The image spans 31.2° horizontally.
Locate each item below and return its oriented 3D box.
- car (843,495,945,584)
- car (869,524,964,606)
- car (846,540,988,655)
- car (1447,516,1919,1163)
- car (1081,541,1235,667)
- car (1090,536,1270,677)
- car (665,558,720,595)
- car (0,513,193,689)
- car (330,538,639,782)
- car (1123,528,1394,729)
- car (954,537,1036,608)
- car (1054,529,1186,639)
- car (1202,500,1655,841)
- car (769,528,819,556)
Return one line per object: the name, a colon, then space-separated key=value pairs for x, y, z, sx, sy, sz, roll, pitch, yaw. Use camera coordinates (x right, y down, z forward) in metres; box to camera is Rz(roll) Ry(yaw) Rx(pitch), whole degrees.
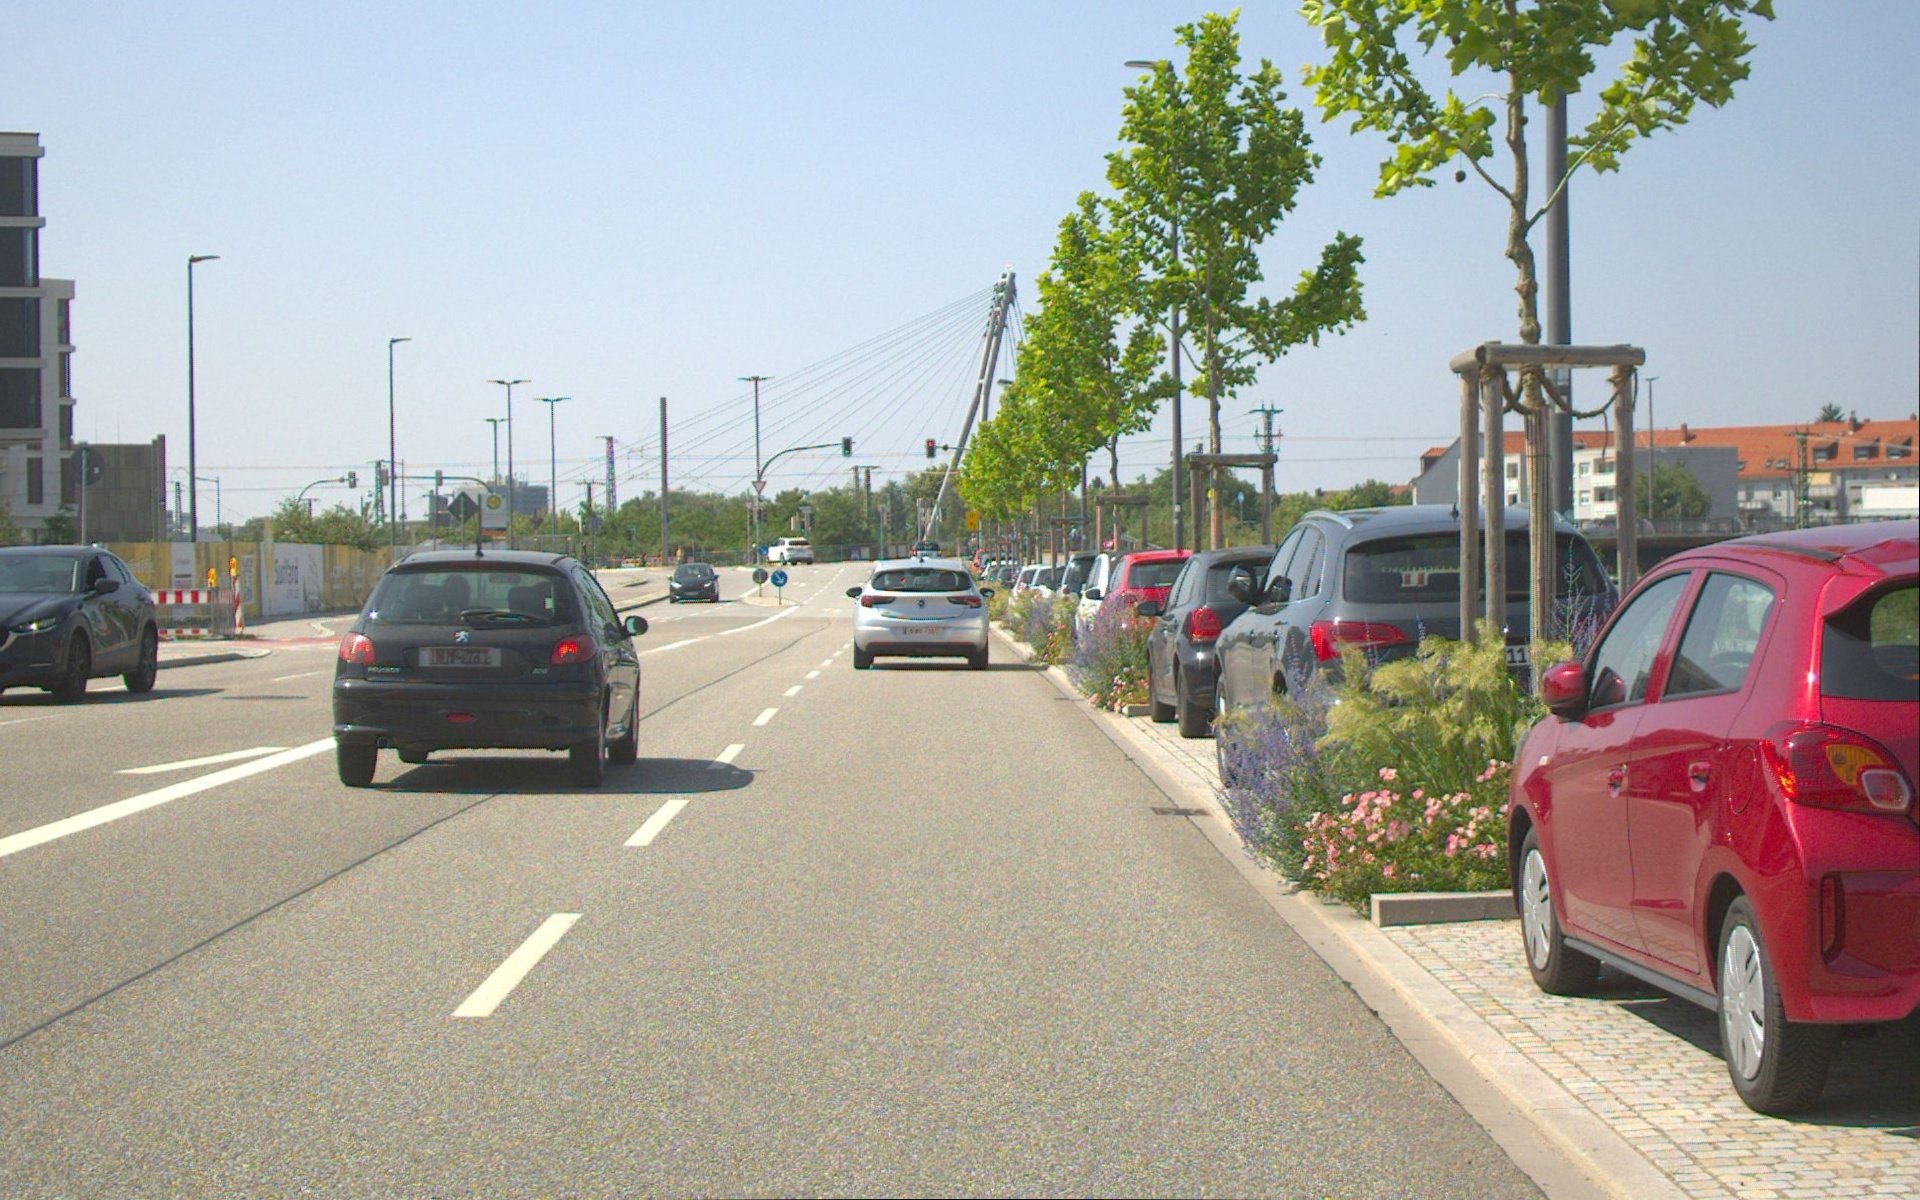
car: x=-1.349 y=-1.249 z=71.709 sx=1.793 sy=1.744 sz=4.000 roll=1 pitch=1 yaw=3
car: x=-0.856 y=-0.694 z=69.571 sx=1.778 sy=1.563 sz=4.000 roll=1 pitch=0 yaw=1
car: x=-0.532 y=-0.067 z=46.099 sx=1.778 sy=1.437 sz=4.000 roll=1 pitch=1 yaw=1
car: x=2.618 y=0.513 z=9.985 sx=1.603 sy=1.486 sz=3.819 roll=-2 pitch=1 yaw=-3
car: x=2.500 y=0.022 z=44.155 sx=1.717 sy=1.519 sz=3.643 roll=1 pitch=1 yaw=-1
car: x=2.463 y=0.035 z=39.314 sx=1.717 sy=1.446 sz=4.001 roll=1 pitch=2 yaw=-1
car: x=-10.004 y=-0.887 z=128.777 sx=1.704 sy=1.347 sz=4.456 roll=-1 pitch=0 yaw=-1
car: x=-9.178 y=-0.016 z=34.047 sx=1.903 sy=1.622 sz=4.387 roll=-1 pitch=1 yaw=4
car: x=-2.970 y=0.320 z=22.088 sx=1.619 sy=1.411 sz=3.728 roll=0 pitch=1 yaw=-3
car: x=2.312 y=0.167 z=27.574 sx=1.633 sy=1.424 sz=4.241 roll=-2 pitch=1 yaw=-2
car: x=0.797 y=-0.638 z=76.316 sx=1.746 sy=1.504 sz=4.001 roll=1 pitch=1 yaw=1
car: x=2.412 y=-0.258 z=52.007 sx=1.908 sy=1.572 sz=4.157 roll=-1 pitch=1 yaw=2
car: x=2.437 y=0.305 z=18.887 sx=1.734 sy=1.603 sz=4.241 roll=-2 pitch=1 yaw=-2
car: x=-9.983 y=-3.490 z=206.343 sx=1.854 sy=1.644 sz=4.001 roll=1 pitch=1 yaw=-20
